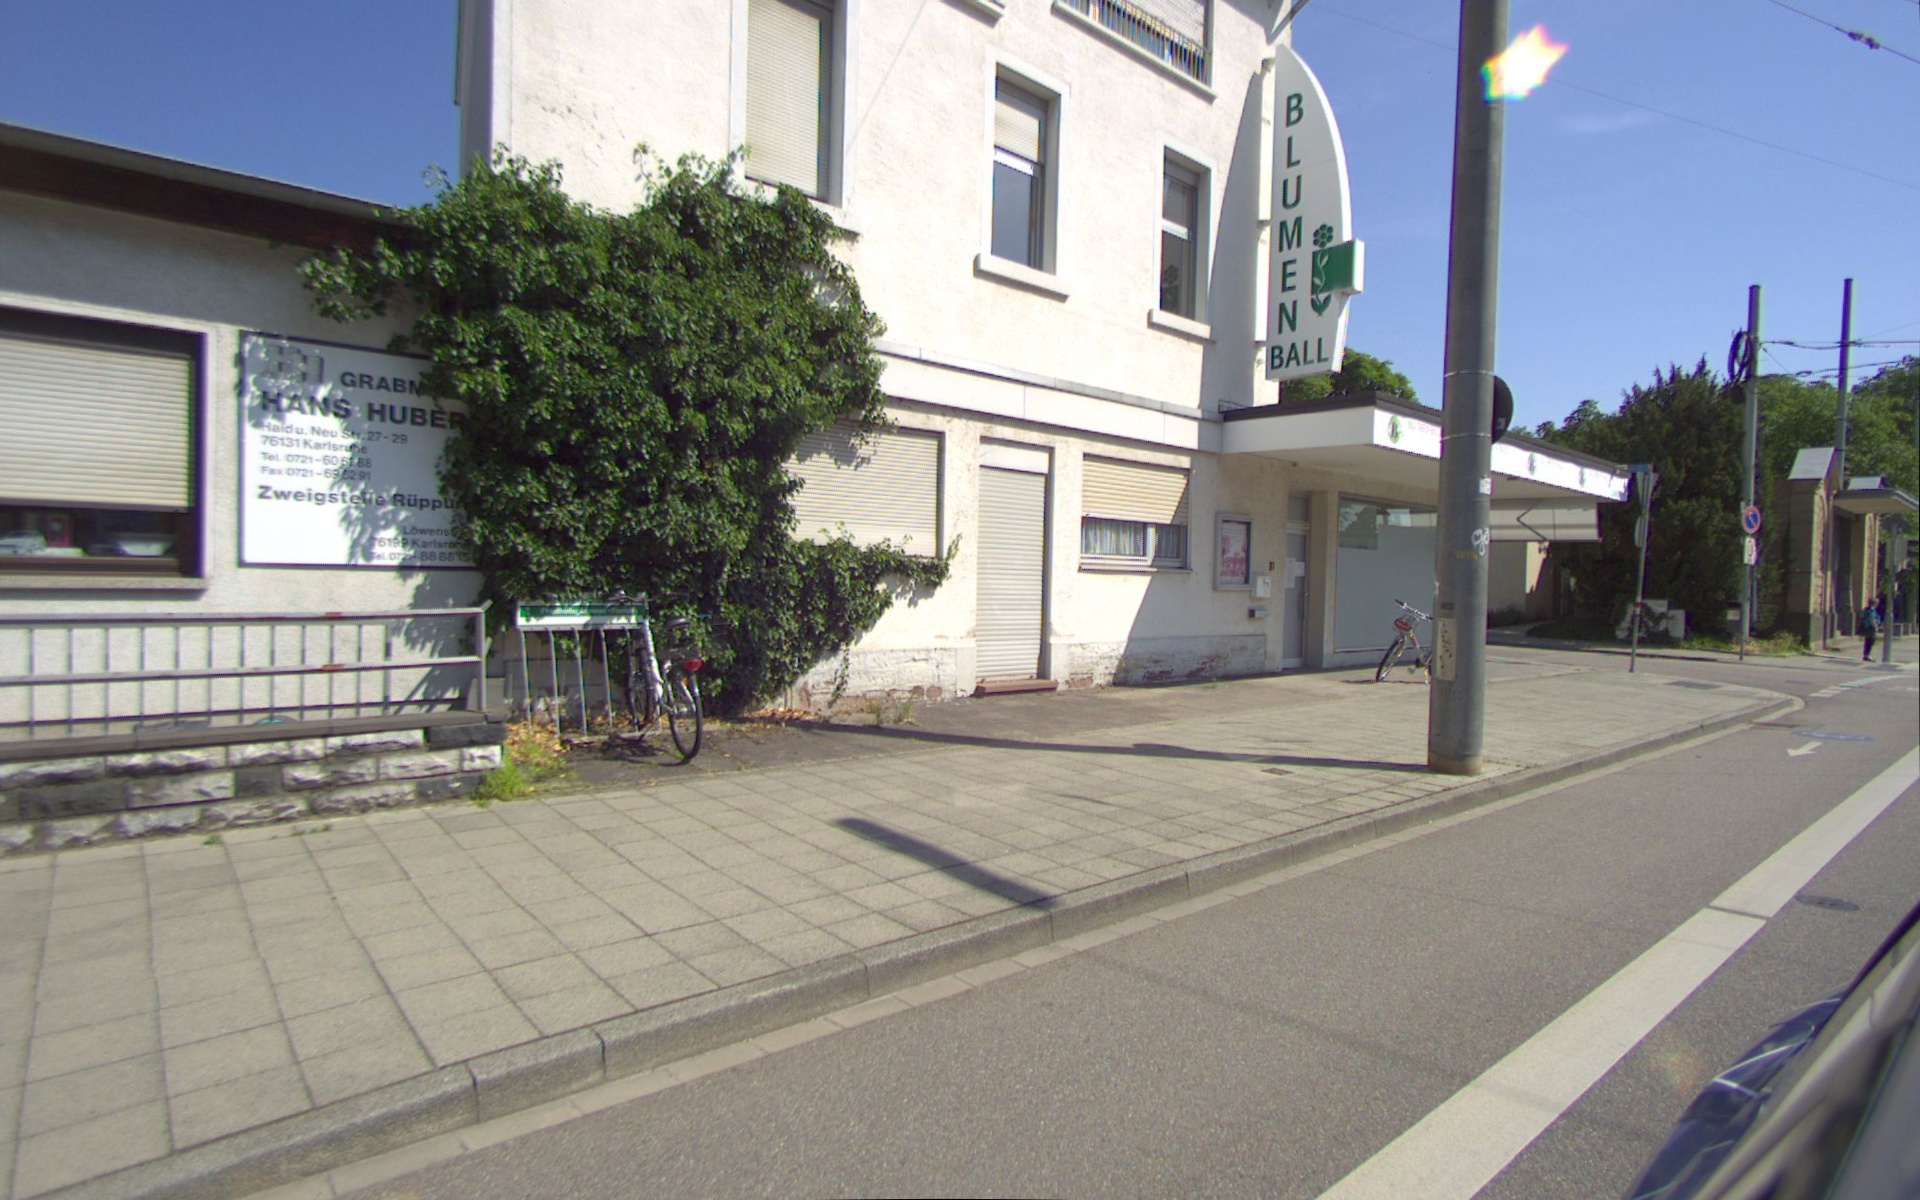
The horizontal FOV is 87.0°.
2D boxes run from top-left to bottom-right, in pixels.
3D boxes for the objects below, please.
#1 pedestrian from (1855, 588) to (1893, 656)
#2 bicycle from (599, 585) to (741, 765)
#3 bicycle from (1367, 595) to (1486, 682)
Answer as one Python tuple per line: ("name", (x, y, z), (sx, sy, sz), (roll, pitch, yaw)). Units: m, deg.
("pedestrian", (22.513, 0.536, 24.925), (0.490, 1.646, 0.500), (1, 3, -33))
("bicycle", (-2.134, 0.483, 7.337), (0.390, 1.069, 1.531), (0, 5, -39))
("bicycle", (6.522, 0.523, 14.146), (1.655, 1.148, 0.513), (1, 1, -24))
